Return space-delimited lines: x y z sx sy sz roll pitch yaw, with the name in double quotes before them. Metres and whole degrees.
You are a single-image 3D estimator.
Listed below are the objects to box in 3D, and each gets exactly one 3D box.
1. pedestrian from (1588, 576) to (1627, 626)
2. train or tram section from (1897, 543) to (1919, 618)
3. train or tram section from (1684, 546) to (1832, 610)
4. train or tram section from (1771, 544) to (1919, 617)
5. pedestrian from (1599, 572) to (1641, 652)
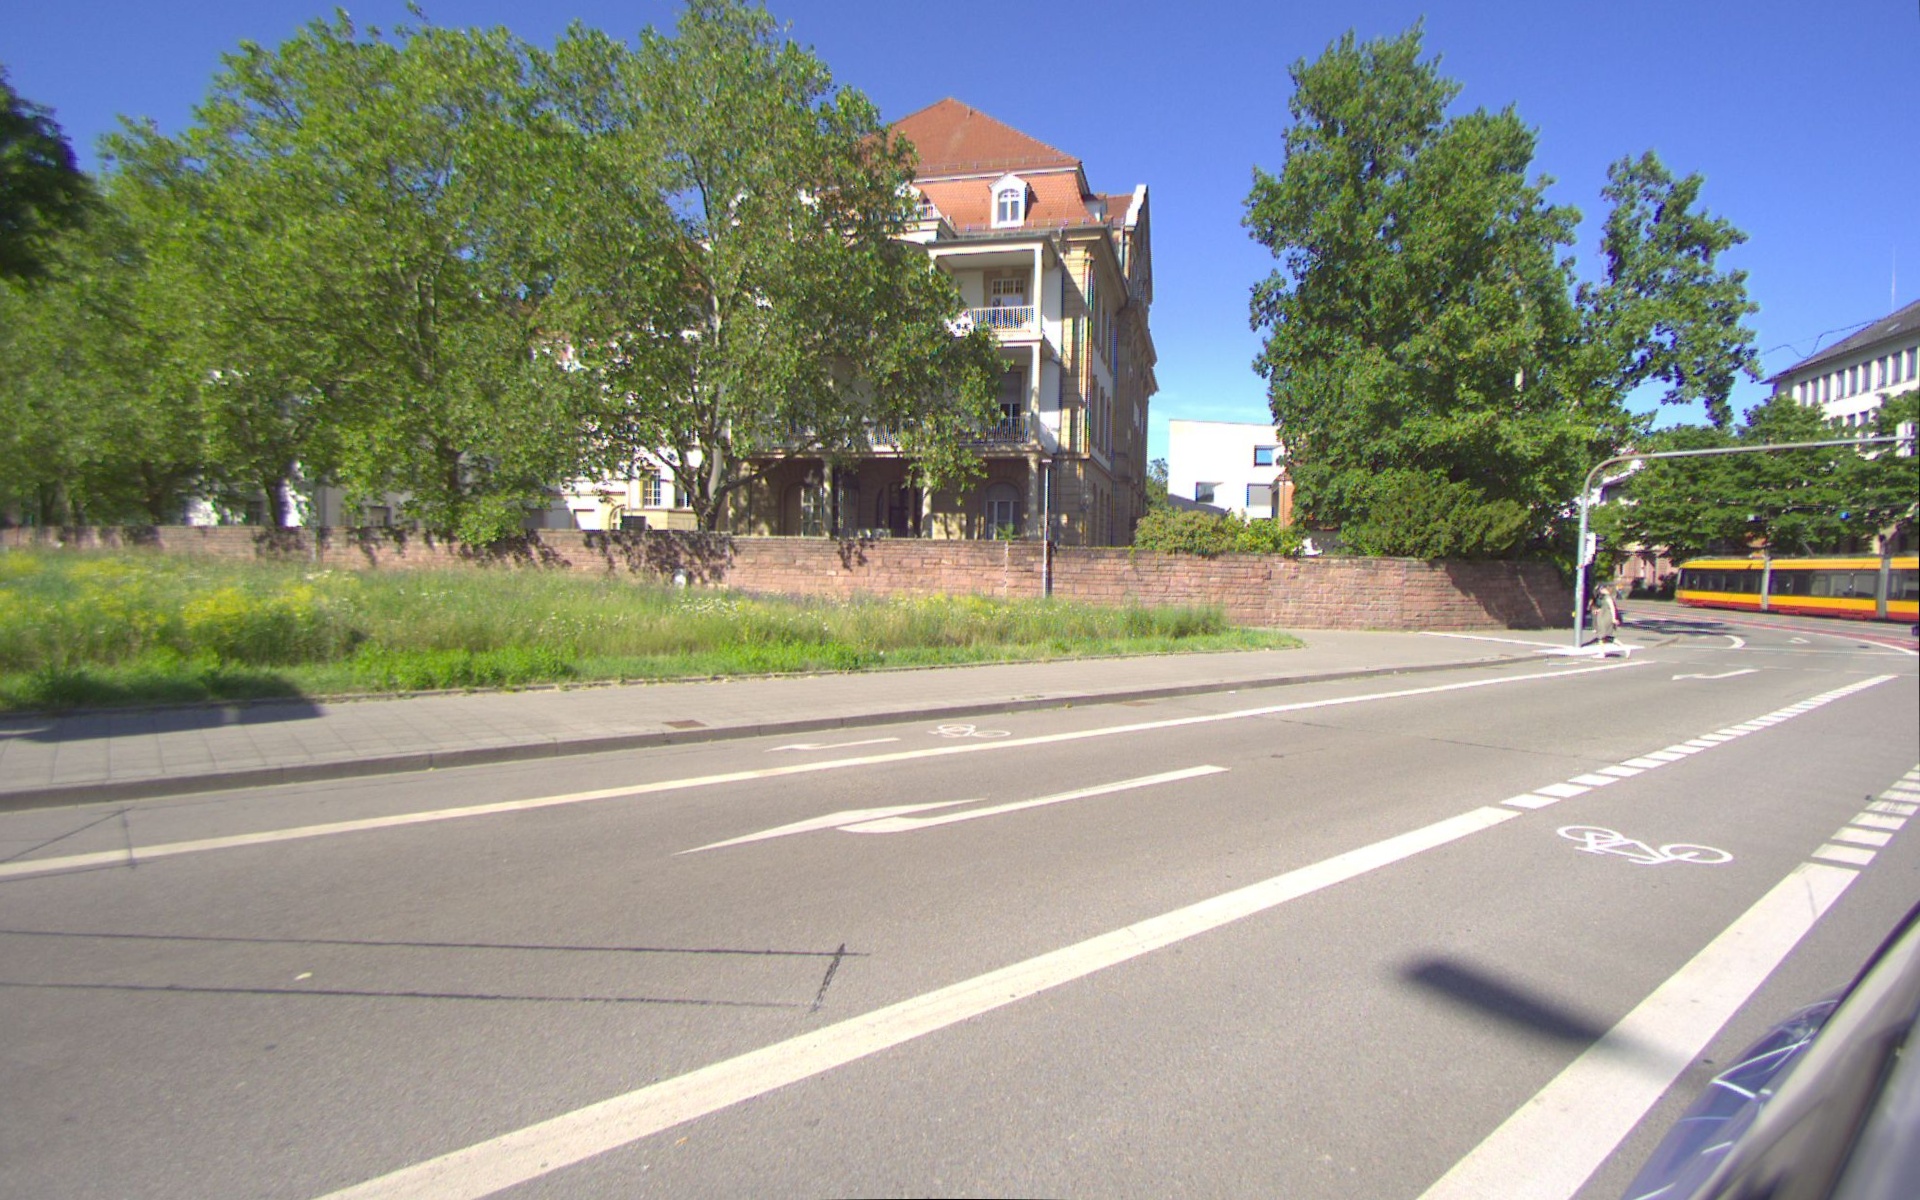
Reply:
"pedestrian" 22.732 0.029 35.544 0.618 1.687 0.933 0 2 -35
"train or tram section" 46.041 -0.724 42.703 2.897 3.563 13.790 2 2 13
"train or tram section" 51.808 -1.495 66.260 2.898 3.728 11.630 2 2 14
"train or tram section" 49.015 -1.092 55.077 2.898 3.563 11.630 2 2 14
"pedestrian" 15.892 0.270 24.382 0.622 1.881 0.782 2 1 19
